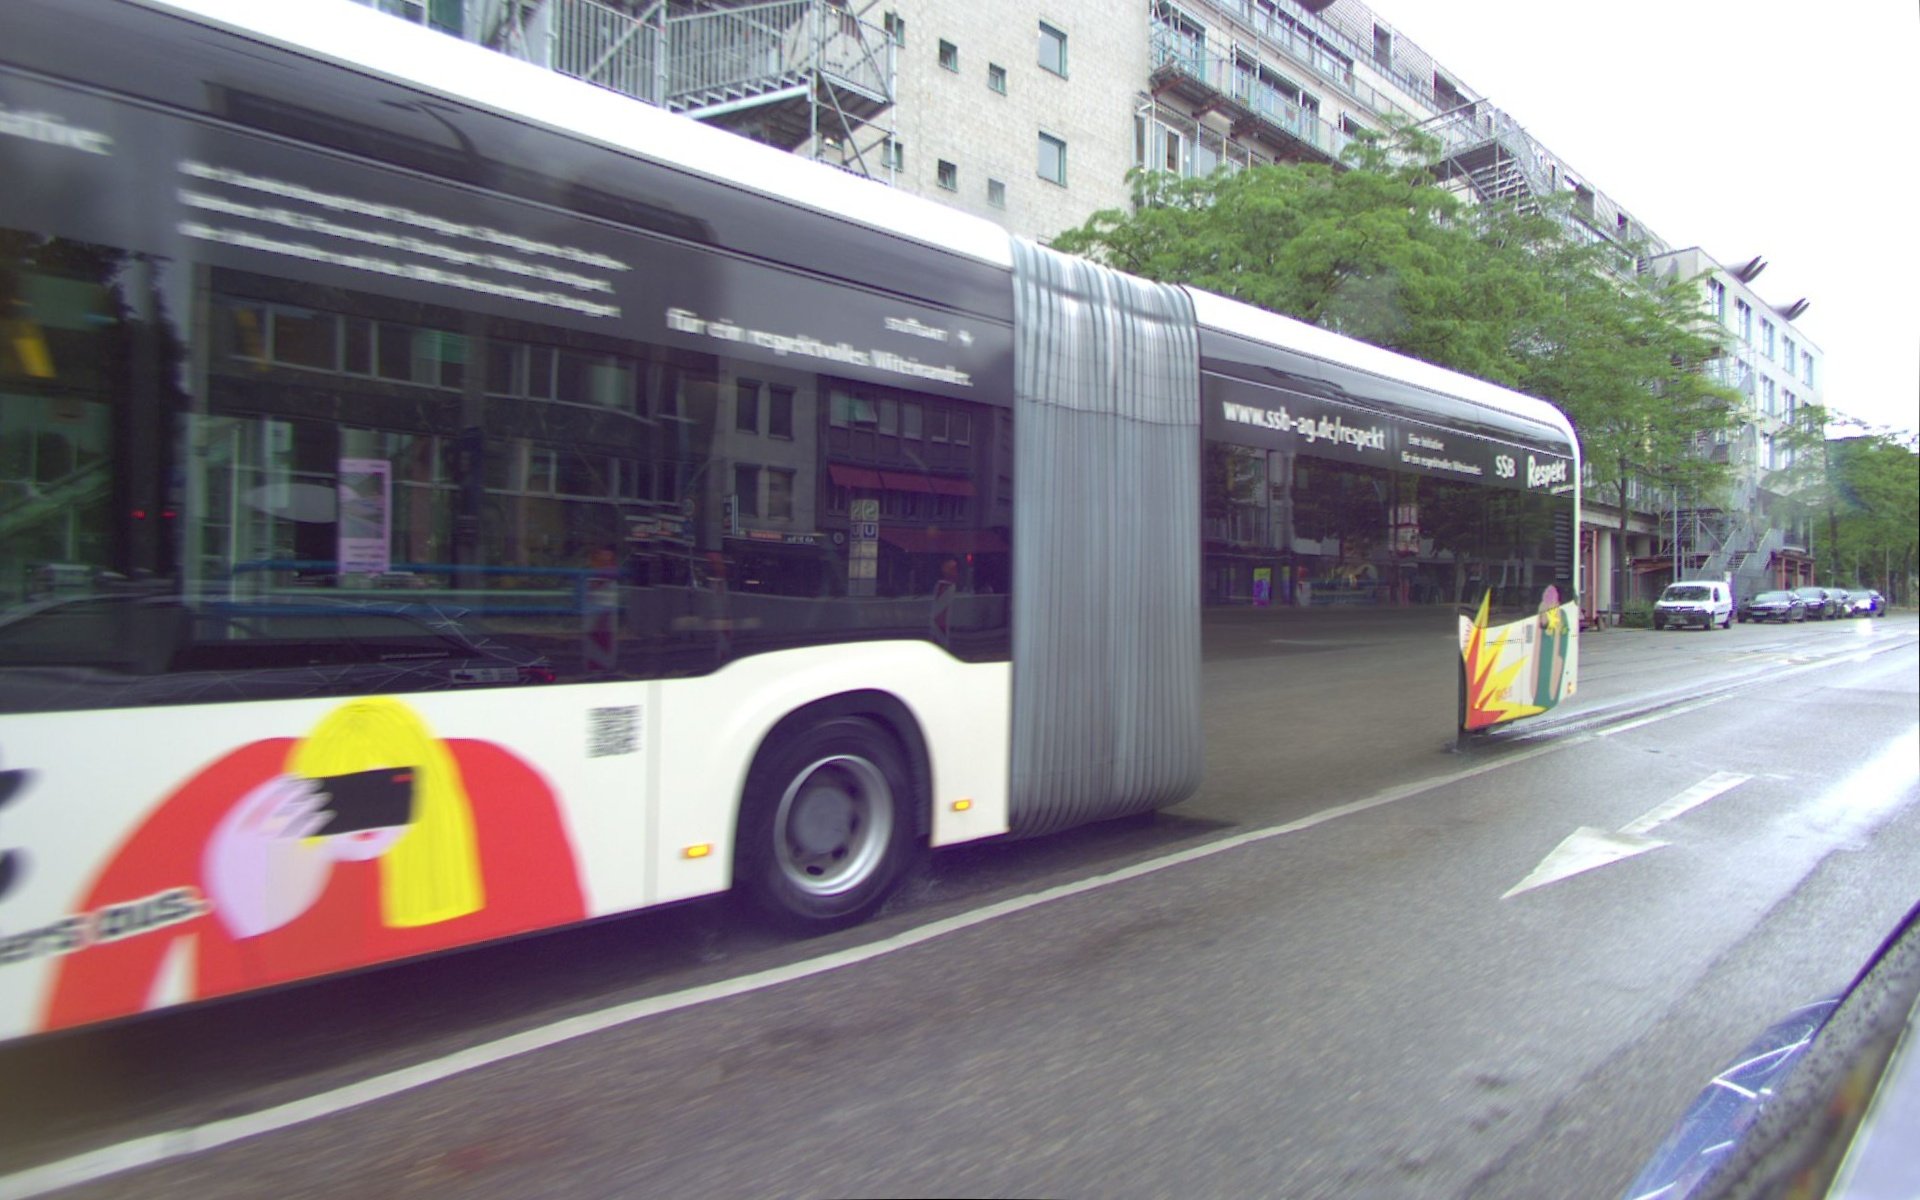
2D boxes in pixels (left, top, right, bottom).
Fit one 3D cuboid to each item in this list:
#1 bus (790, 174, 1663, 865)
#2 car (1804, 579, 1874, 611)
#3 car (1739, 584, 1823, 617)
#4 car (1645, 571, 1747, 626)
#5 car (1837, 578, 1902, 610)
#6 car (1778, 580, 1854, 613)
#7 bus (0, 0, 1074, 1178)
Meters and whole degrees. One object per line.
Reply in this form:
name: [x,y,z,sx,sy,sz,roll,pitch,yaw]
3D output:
bus: [3.328,-0.503,9.332,9.541,3.483,2.888,-1,1,-41]
car: [45.827,-0.270,52.730,4.733,1.580,2.145,-1,1,-41]
car: [36.555,0.002,45.027,4.733,1.353,2.145,-1,1,-41]
car: [27.522,-0.085,37.805,4.255,1.930,2.211,-1,1,-41]
car: [50.403,-0.333,56.051,4.733,1.667,2.145,-1,1,-41]
car: [41.713,-0.193,49.272,4.733,1.513,2.145,-1,1,-41]
bus: [-4.003,-0.316,2.982,9.587,3.493,2.888,-1,1,-41]
